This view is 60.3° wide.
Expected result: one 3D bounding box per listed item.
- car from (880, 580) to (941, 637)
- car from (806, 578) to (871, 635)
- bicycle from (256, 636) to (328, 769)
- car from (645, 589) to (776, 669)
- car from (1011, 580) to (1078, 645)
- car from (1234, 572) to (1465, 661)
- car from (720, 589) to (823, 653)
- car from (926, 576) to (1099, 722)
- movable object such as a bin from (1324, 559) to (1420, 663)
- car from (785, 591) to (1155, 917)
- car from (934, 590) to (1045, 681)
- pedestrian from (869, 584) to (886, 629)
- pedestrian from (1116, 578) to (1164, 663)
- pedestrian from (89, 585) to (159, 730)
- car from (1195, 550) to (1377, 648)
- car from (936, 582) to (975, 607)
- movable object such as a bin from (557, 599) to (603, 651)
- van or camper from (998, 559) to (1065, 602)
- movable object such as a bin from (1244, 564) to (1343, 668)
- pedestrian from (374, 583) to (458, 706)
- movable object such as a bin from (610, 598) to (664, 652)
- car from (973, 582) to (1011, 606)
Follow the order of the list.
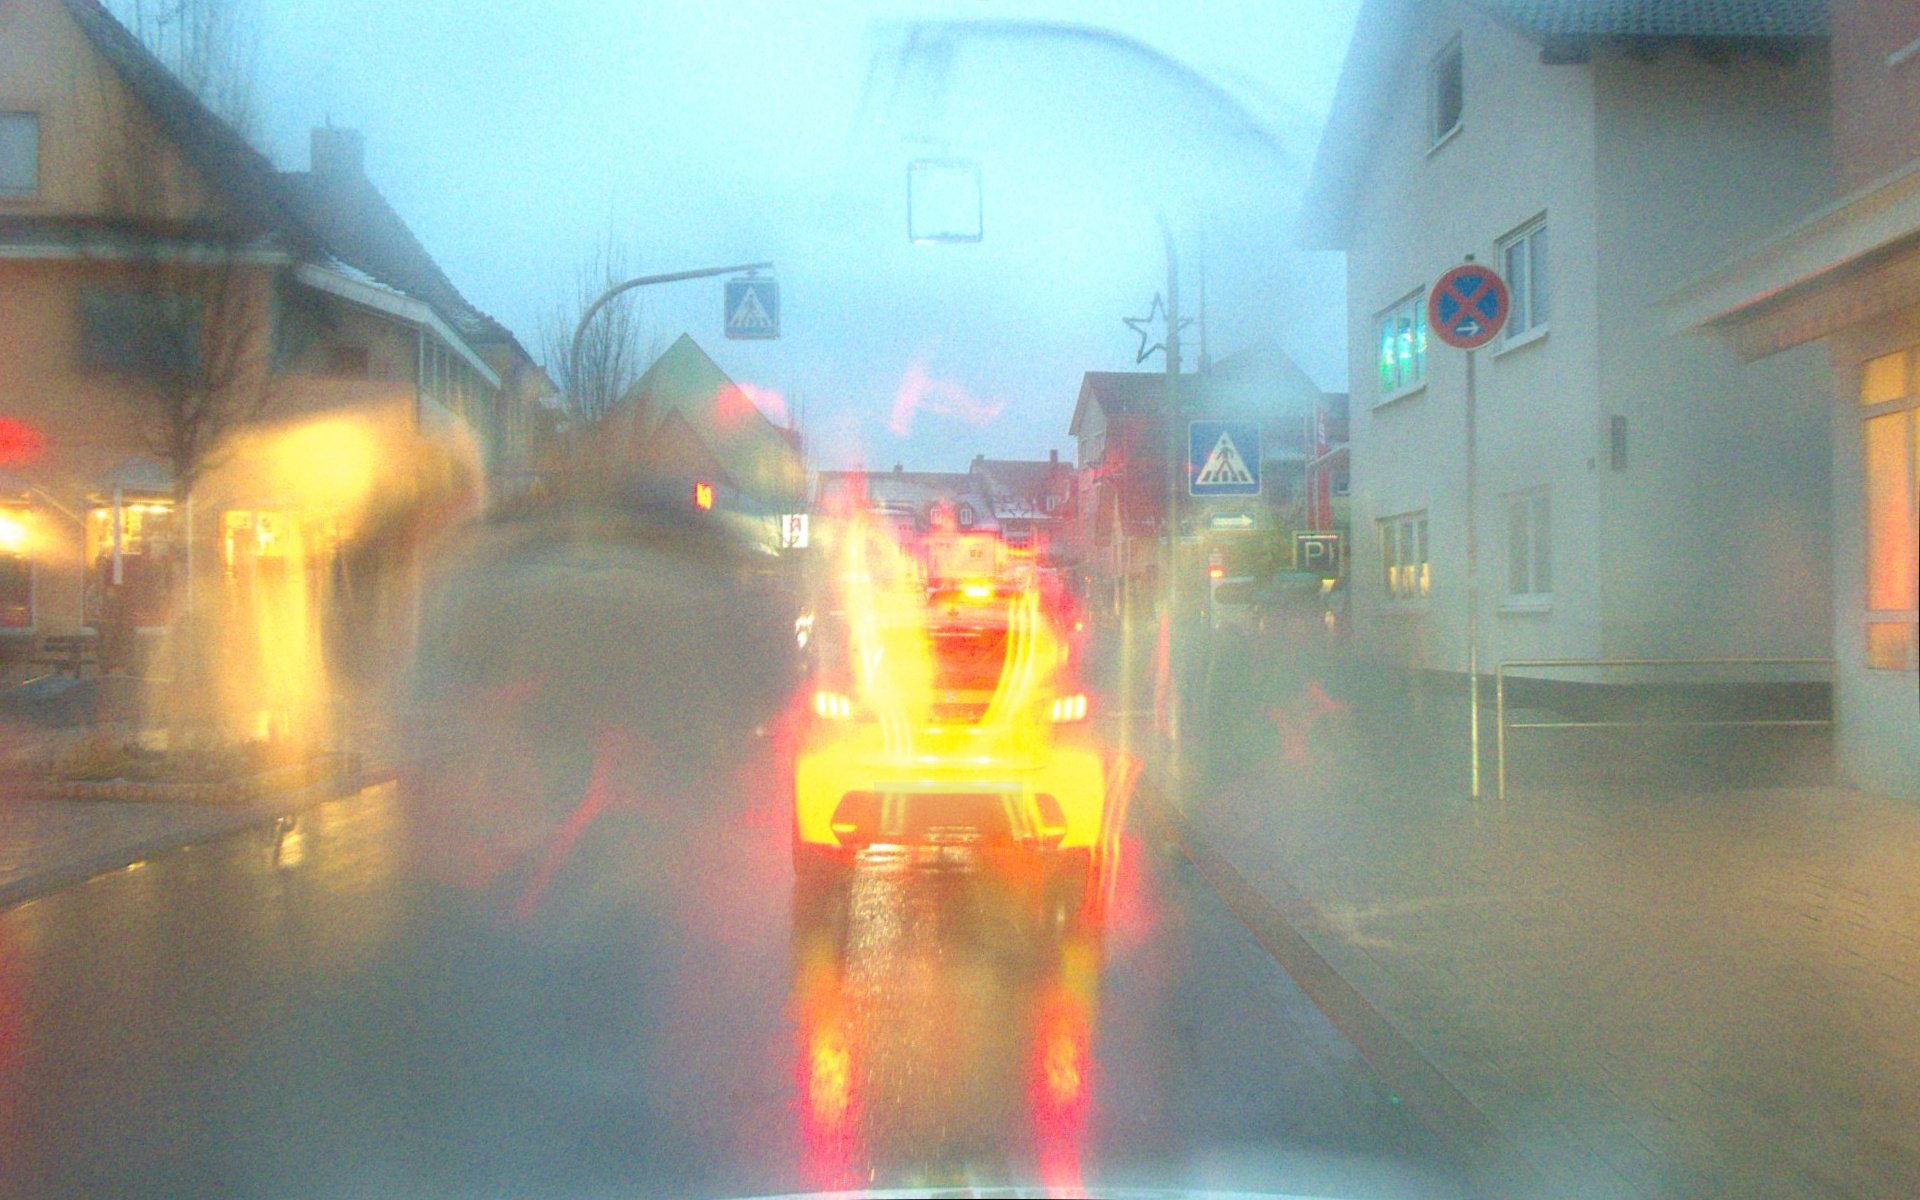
[{"bbox_3d":[-1.684,0.253,57.753,1.953,1.735,4.967,2,2,0],"label":"car"},{"bbox_3d":[-4.071,0.183,56.021,2.044,1.823,5.021,0,1,-3],"label":"car"},{"bbox_3d":[-6.331,0.938,15.714,0.319,1.079,1.738,-5,3,-14],"label":"bicycle"},{"bbox_3d":[-5.296,0.576,35.709,1.952,1.585,4.622,1,0,2],"label":"car"},{"bbox_3d":[2.566,0.366,50.626,1.952,1.890,4.001,1,0,3],"label":"car"},{"bbox_3d":[7.167,0.311,30.737,3.903,1.512,1.913,-1,-1,4],"label":"car"},{"bbox_3d":[-4.807,0.509,42.847,1.952,1.549,4.979,0,0,2],"label":"car"},{"bbox_3d":[0.563,0.561,20.991,1.952,1.653,3.999,1,0,-2],"label":"car"},{"bbox_3d":[7.010,0.181,28.202,1.259,1.672,1.185,-3,0,-1],"label":"movable object such as a bin"},{"bbox_3d":[0.031,0.747,10.019,1.777,1.560,3.999,1,0,-1],"label":"car"},{"bbox_3d":[0.505,0.639,31.894,1.953,1.616,3.999,1,0,-2],"label":"car"},{"bbox_3d":[-2.967,0.234,59.581,0.562,1.613,0.530,0,1,1],"label":"pedestrian"},{"bbox_3d":[4.138,0.468,38.069,0.947,1.922,1.006,1,0,-1],"label":"pedestrian"},{"bbox_3d":[-12.105,0.815,23.942,0.729,2.049,0.815,1,0,-38],"label":"pedestrian"},{"bbox_3d":[7.604,-0.015,38.792,4.003,2.085,2.002,-2,0,10],"label":"car"},{"bbox_3d":[-0.345,-0.416,127.637,1.961,1.795,4.333,-2,1,-15],"label":"car"},{"bbox_3d":[-10.257,0.670,44.688,1.128,1.378,0.850,0,0,-9],"label":"movable object such as a bin"},{"bbox_3d":[5.523,-1.463,128.656,2.613,3.100,6.692,-4,1,-21],"label":"van or camper"},{"bbox_3d":[5.676,0.265,28.260,1.364,1.672,1.261,-3,0,-1],"label":"movable object such as a bin"},{"bbox_3d":[-7.702,0.613,23.474,0.809,1.687,1.097,1,0,-1],"label":"pedestrian"},{"bbox_3d":[-8.753,0.663,44.859,1.315,1.377,0.887,-3,0,-8],"label":"movable object such as a bin"},{"bbox_3d":[2.465,-0.463,127.941,1.959,1.639,4.160,-2,0,-13],"label":"car"}]
